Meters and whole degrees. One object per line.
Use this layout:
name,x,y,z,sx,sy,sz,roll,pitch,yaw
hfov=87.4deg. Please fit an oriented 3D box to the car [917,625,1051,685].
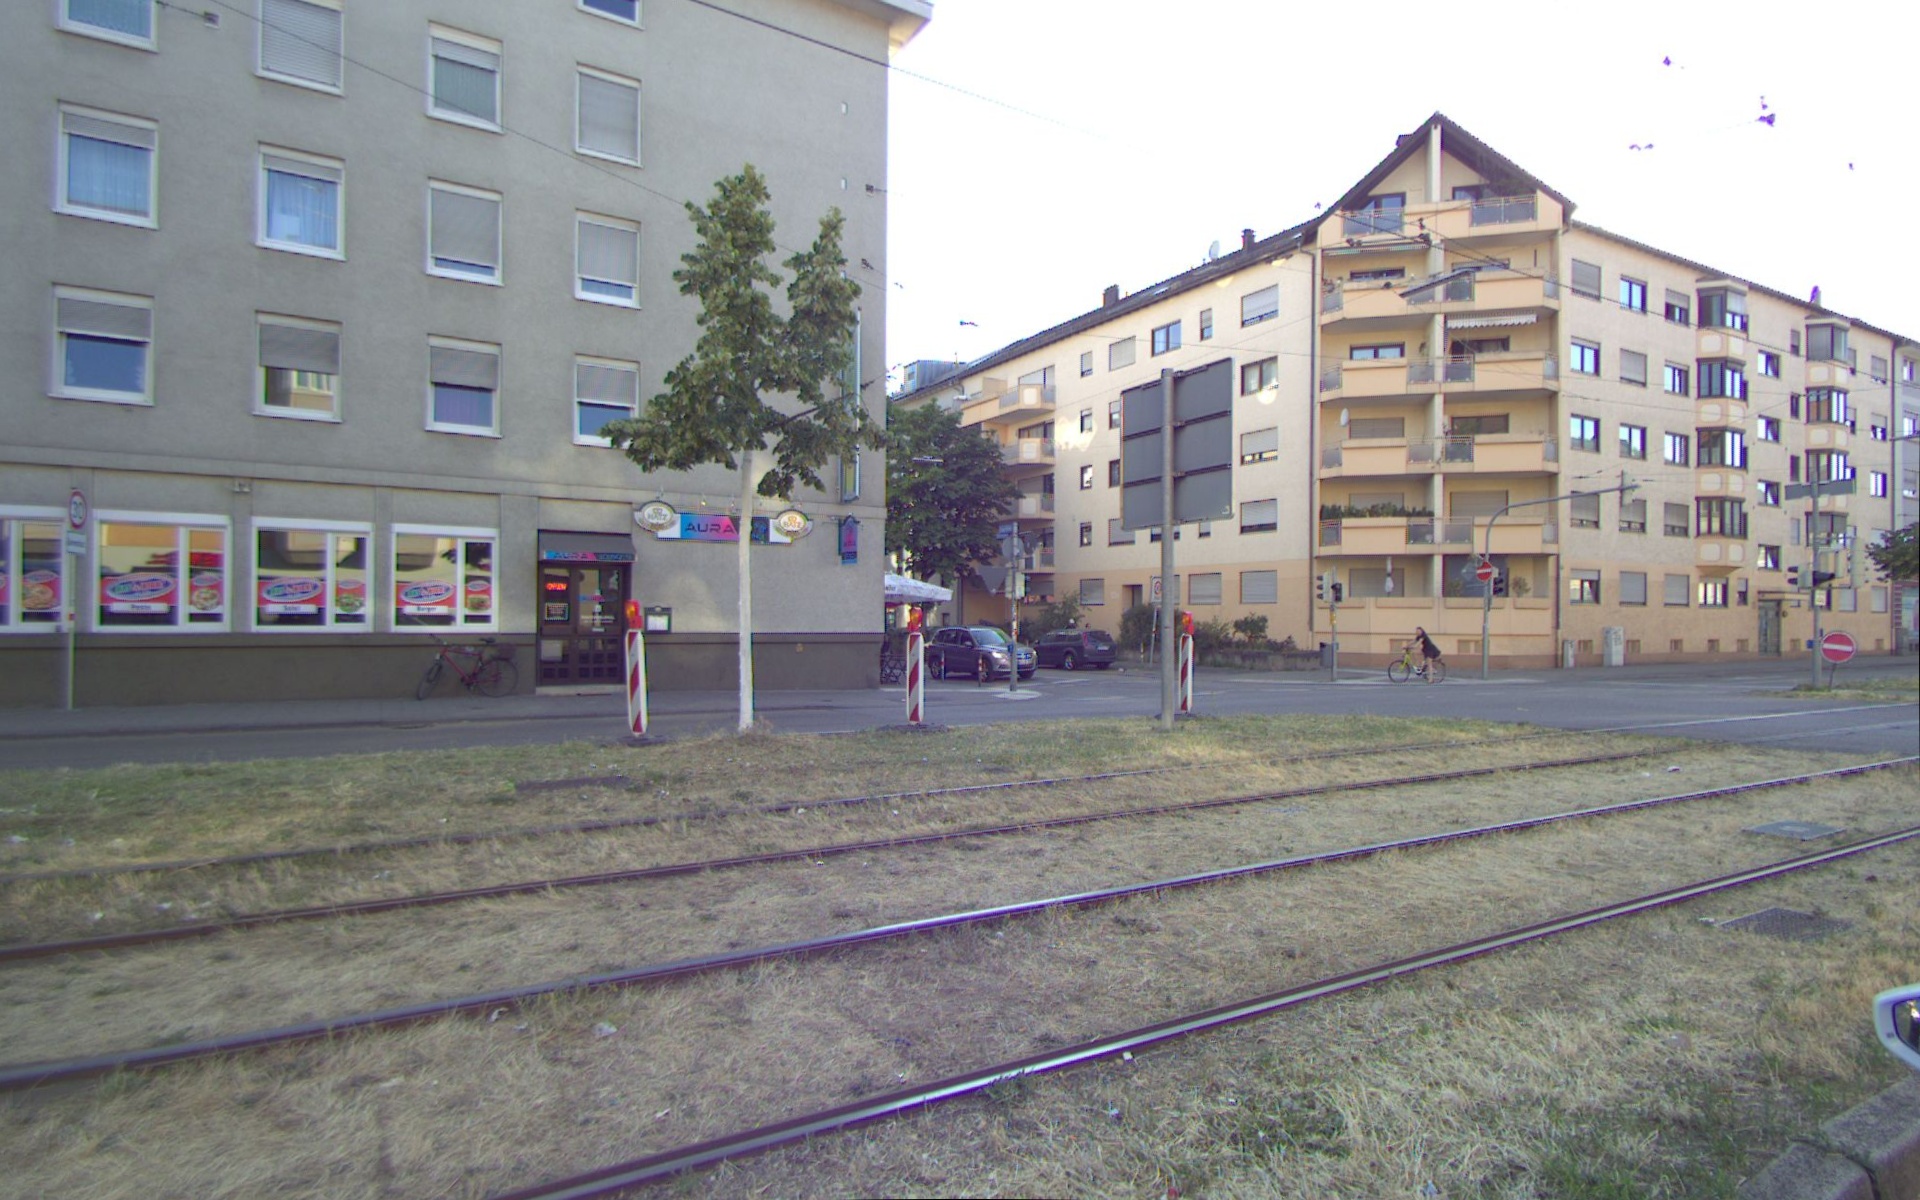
car,0.685,1.654,31.392,1.982,1.645,4.153,-3,1,-38

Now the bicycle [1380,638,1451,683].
bicycle,13.303,1.763,29.357,1.833,1.274,0.457,0,0,3

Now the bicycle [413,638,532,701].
bicycle,-8.574,1.214,17.681,1.823,1.037,0.605,2,0,-31

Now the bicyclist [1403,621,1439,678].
bicyclist,13.461,1.436,29.338,0.793,1.607,0.628,0,0,4

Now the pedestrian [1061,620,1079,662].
pedestrian,4.599,1.703,41.956,0.456,1.727,0.589,2,0,-24

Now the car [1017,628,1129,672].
car,4.170,1.836,37.553,1.982,1.462,3.957,-1,0,-38
